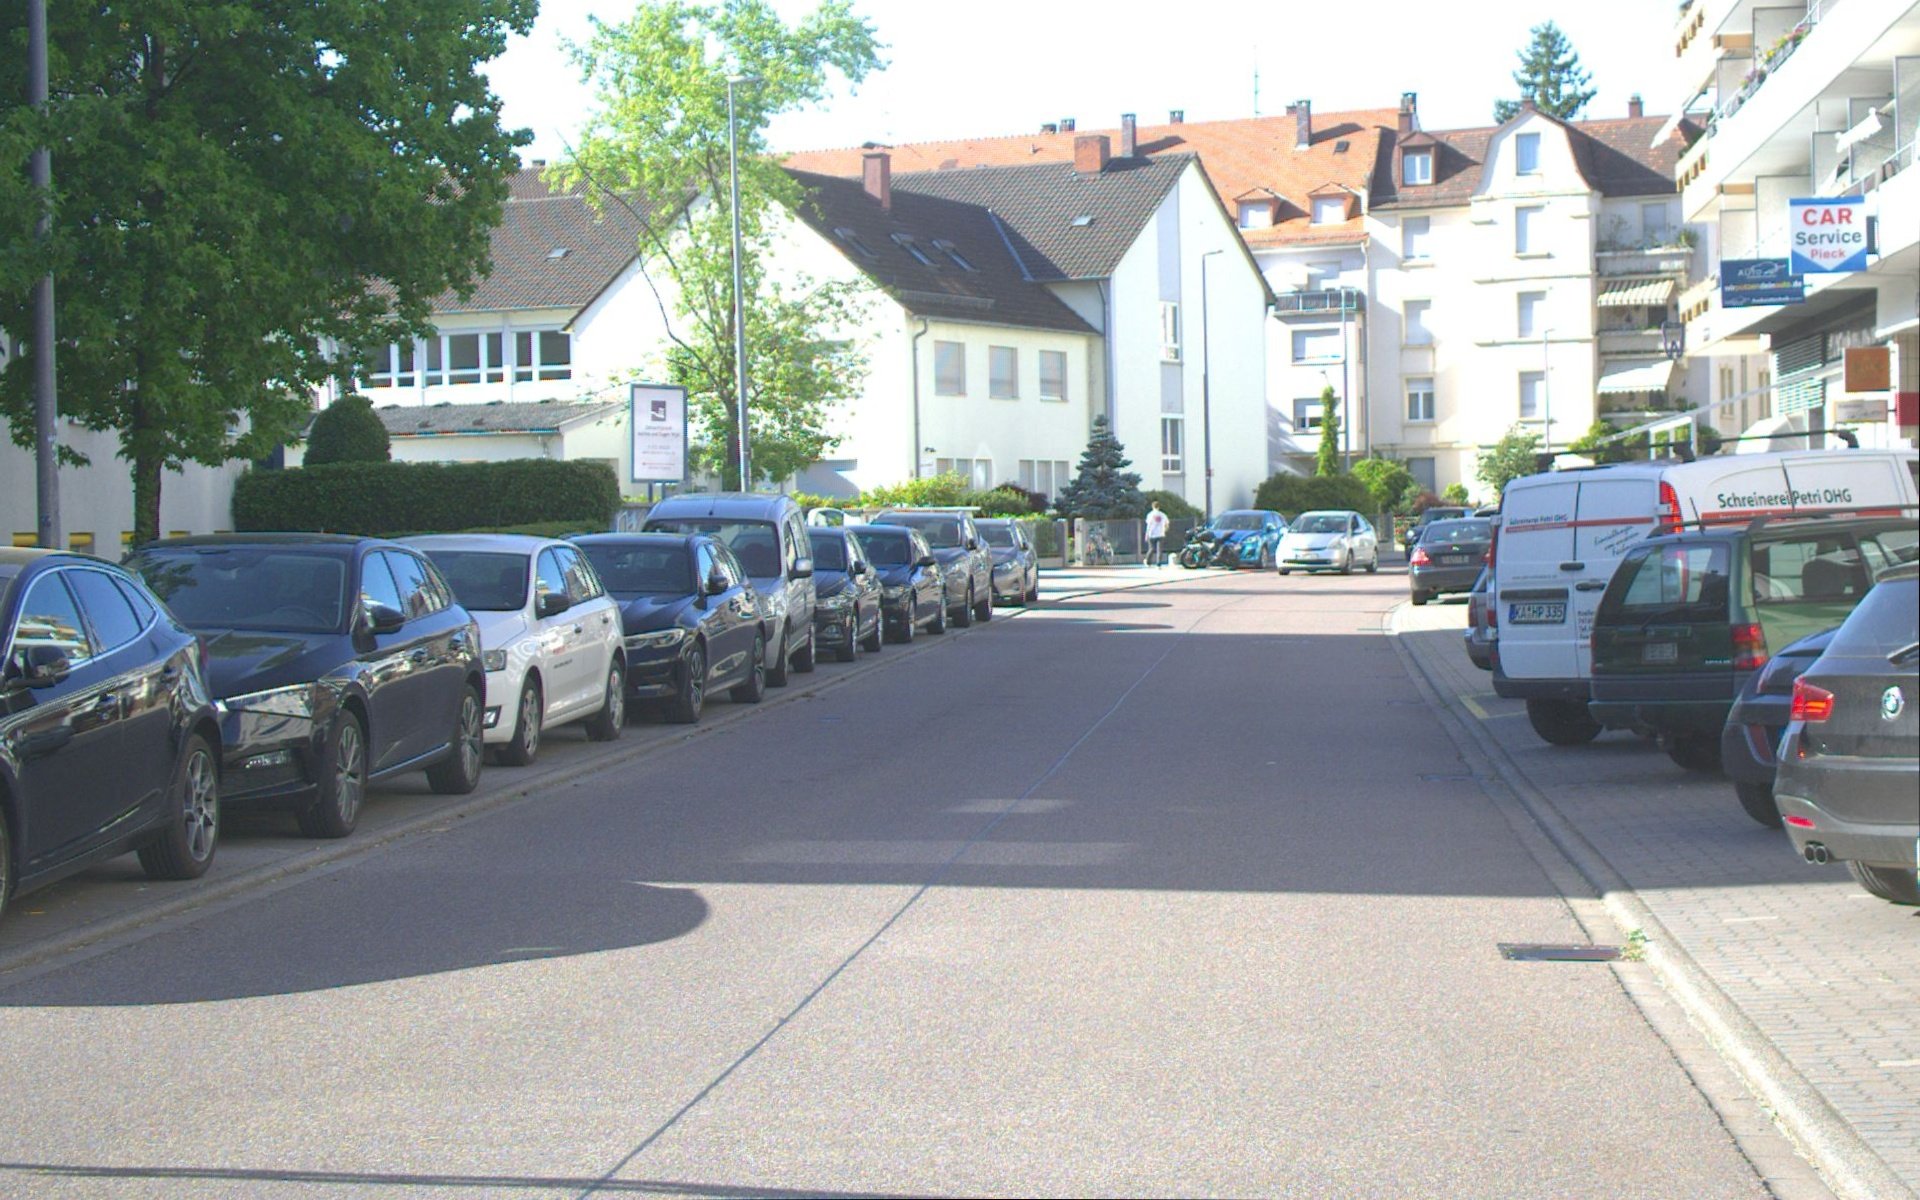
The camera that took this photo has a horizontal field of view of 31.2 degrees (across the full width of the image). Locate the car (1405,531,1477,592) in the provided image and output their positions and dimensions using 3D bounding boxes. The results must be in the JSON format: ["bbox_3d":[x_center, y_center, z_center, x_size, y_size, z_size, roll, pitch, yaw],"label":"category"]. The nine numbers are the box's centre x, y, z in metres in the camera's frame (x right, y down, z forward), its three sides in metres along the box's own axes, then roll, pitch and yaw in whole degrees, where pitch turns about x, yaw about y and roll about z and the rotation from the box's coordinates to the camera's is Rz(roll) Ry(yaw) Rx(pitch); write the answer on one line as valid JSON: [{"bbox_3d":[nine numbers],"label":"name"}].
[{"bbox_3d":[13.388,-1.052,95.858,1.740,1.507,3.729,-2,-1,5],"label":"car"}]

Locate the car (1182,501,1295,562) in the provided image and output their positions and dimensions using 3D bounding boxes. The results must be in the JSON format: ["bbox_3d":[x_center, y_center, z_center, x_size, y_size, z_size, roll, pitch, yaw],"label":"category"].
[{"bbox_3d":[7.121,-1.763,87.478,1.799,1.468,4.326,1,2,20],"label":"car"}]

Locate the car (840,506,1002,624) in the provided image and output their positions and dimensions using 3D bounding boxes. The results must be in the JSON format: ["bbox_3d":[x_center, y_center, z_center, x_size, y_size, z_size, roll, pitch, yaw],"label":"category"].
[{"bbox_3d":[-0.510,-0.539,49.087,1.720,1.581,4.420,0,2,7],"label":"car"}]

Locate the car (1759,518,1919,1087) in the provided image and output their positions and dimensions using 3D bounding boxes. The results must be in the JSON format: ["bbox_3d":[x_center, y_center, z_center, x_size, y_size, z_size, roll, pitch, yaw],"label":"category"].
[{"bbox_3d":[4.810,0.388,9.710,4.858,1.459,1.973,-4,3,-29],"label":"car"}]

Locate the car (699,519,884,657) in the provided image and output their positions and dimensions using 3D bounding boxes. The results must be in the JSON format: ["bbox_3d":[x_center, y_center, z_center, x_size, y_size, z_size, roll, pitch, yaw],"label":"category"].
[{"bbox_3d":[-1.805,-0.172,37.867,1.598,1.435,4.000,0,1,3],"label":"car"}]

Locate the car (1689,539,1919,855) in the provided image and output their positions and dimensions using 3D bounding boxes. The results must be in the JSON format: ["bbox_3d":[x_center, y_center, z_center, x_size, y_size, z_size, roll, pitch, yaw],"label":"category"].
[{"bbox_3d":[5.300,0.395,16.655,3.386,1.383,1.540,-1,1,-34],"label":"car"}]

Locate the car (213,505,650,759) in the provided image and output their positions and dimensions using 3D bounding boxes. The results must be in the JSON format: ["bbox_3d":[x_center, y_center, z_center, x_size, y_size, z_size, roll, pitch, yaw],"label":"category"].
[{"bbox_3d":[-3.404,0.164,23.082,1.908,1.525,4.624,0,1,4],"label":"car"}]

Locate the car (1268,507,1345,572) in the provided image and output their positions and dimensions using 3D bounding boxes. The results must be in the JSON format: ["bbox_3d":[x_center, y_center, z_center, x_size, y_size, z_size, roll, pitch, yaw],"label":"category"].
[{"bbox_3d":[8.278,-1.465,82.013,1.726,1.480,4.105,0,2,7],"label":"car"}]

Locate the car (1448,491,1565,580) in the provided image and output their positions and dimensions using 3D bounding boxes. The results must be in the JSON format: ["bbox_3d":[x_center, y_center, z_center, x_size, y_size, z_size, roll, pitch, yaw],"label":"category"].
[{"bbox_3d":[11.195,-1.283,70.214,1.818,1.648,4.556,-1,-1,16],"label":"car"}]

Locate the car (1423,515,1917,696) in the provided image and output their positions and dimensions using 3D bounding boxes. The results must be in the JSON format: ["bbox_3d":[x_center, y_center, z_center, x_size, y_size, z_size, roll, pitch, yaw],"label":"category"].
[{"bbox_3d":[6.480,0.022,31.135,4.633,1.461,1.690,-2,0,-37],"label":"car"}]

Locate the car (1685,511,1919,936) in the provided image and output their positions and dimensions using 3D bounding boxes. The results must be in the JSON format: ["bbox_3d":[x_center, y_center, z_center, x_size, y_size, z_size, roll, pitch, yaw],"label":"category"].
[{"bbox_3d":[5.053,0.398,13.321,4.157,1.492,1.823,-1,0,-28],"label":"car"}]

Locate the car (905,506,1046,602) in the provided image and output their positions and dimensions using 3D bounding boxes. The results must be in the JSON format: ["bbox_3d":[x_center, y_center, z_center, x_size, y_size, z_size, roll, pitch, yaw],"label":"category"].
[{"bbox_3d":[0.311,-0.821,58.906,1.994,1.529,4.917,0,2,5],"label":"car"}]

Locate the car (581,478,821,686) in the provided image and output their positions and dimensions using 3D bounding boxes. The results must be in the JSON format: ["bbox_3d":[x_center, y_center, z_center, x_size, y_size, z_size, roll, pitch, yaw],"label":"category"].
[{"bbox_3d":[-2.388,-0.221,32.659,1.687,1.832,4.341,0,2,3],"label":"car"}]

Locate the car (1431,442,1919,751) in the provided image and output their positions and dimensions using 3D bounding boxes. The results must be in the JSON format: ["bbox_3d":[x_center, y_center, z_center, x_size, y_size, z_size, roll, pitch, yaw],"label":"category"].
[{"bbox_3d":[5.698,-0.069,23.844,4.516,1.891,2.049,-3,0,-35],"label":"car"}]

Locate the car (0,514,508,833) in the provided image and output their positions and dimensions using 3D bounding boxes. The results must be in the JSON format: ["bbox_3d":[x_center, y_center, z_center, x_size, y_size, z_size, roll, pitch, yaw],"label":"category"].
[{"bbox_3d":[-3.788,0.315,18.197,1.908,1.474,4.380,0,1,4],"label":"car"}]

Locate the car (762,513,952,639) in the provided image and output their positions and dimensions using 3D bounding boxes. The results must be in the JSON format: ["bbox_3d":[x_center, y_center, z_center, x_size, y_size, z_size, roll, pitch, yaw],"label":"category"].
[{"bbox_3d":[-1.242,-0.339,43.262,1.726,1.460,4.438,0,2,7],"label":"car"}]

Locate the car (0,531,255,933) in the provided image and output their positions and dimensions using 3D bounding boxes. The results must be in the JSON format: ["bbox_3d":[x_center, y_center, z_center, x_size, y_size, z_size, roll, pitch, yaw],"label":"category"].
[{"bbox_3d":[-4.203,0.447,13.341,1.789,1.405,4.223,0,1,4],"label":"car"}]

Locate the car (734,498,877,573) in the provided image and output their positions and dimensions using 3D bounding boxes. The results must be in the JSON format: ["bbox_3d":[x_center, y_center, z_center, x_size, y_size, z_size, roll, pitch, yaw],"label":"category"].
[{"bbox_3d":[-3.443,-1.421,77.050,1.803,1.550,3.183,-1,-1,29],"label":"car"}]

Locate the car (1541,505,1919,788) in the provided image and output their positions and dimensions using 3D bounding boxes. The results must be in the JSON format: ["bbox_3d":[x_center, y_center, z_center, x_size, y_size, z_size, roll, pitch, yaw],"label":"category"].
[{"bbox_3d":[5.616,0.195,20.408,3.984,1.484,1.617,-4,0,-26],"label":"car"}]

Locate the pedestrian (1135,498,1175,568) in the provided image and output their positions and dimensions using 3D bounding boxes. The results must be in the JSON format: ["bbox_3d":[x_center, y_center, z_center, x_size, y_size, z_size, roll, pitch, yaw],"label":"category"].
[{"bbox_3d":[4.781,-1.640,84.264,0.683,1.698,0.823,-1,-1,27],"label":"pedestrian"}]

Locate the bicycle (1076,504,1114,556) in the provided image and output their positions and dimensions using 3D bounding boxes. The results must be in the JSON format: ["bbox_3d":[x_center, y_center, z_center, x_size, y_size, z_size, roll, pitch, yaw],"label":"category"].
[{"bbox_3d":[3.466,-1.788,88.199,0.456,1.246,1.926,-1,-1,18],"label":"bicycle"}]

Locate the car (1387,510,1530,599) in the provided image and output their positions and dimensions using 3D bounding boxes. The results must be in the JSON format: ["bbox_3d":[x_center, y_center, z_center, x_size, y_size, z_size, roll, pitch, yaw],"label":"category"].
[{"bbox_3d":[8.608,-0.796,59.062,1.972,1.445,5.000,0,1,14],"label":"car"}]

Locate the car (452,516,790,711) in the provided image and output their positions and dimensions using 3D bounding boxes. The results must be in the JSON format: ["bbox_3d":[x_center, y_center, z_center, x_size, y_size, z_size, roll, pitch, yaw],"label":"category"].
[{"bbox_3d":[-2.654,0.049,28.001,1.733,1.434,4.610,-1,1,7],"label":"car"}]
